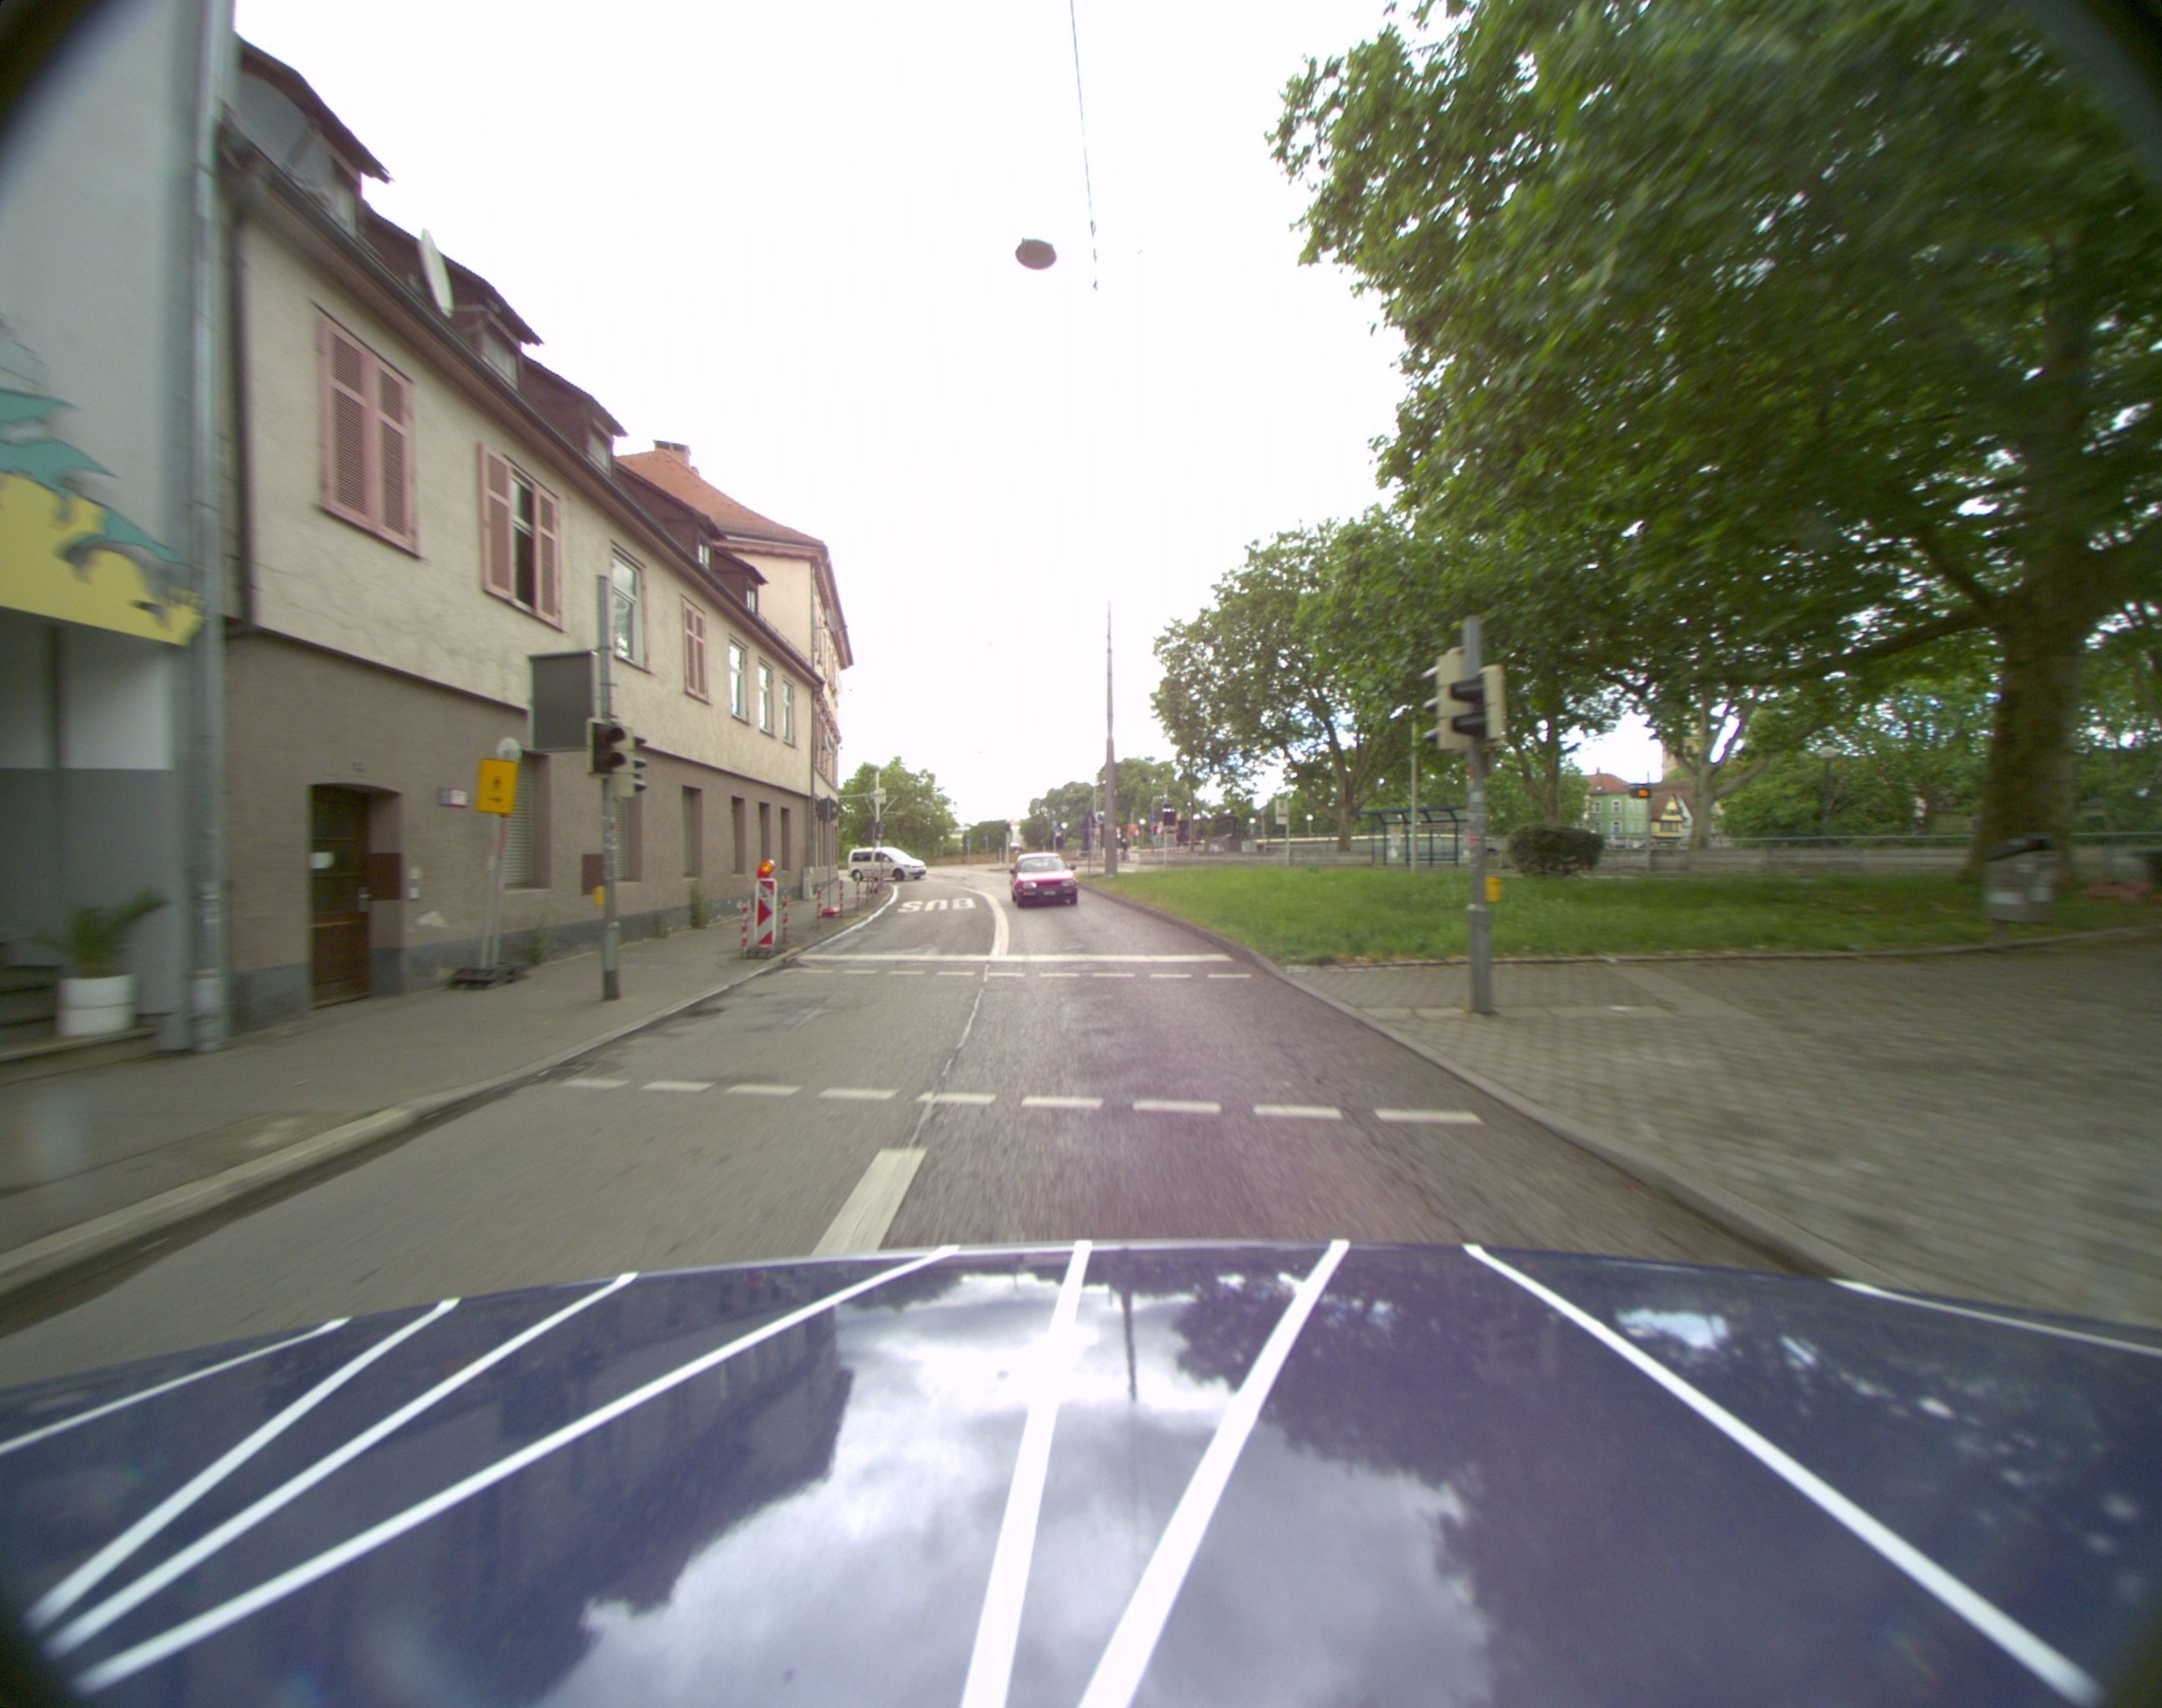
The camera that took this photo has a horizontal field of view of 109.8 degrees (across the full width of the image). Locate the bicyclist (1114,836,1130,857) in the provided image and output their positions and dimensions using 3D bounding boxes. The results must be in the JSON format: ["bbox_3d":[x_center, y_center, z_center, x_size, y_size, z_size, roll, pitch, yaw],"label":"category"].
[{"bbox_3d":[3.418,-0.627,63.403,1.005,1.642,0.643,-1,4,35],"label":"bicyclist"}]

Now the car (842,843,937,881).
[{"bbox_3d":[-10.303,0.428,40.920,4.448,1.776,2.076,-2,3,19],"label":"car"}]

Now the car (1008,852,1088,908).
[{"bbox_3d":[-1.061,0.731,22.055,1.851,1.414,4.171,-2,-1,-8],"label":"car"}]

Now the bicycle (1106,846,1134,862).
[{"bbox_3d":[3.230,-0.027,63.617,2.258,1.271,0.692,-1,4,37],"label":"bicycle"}]
